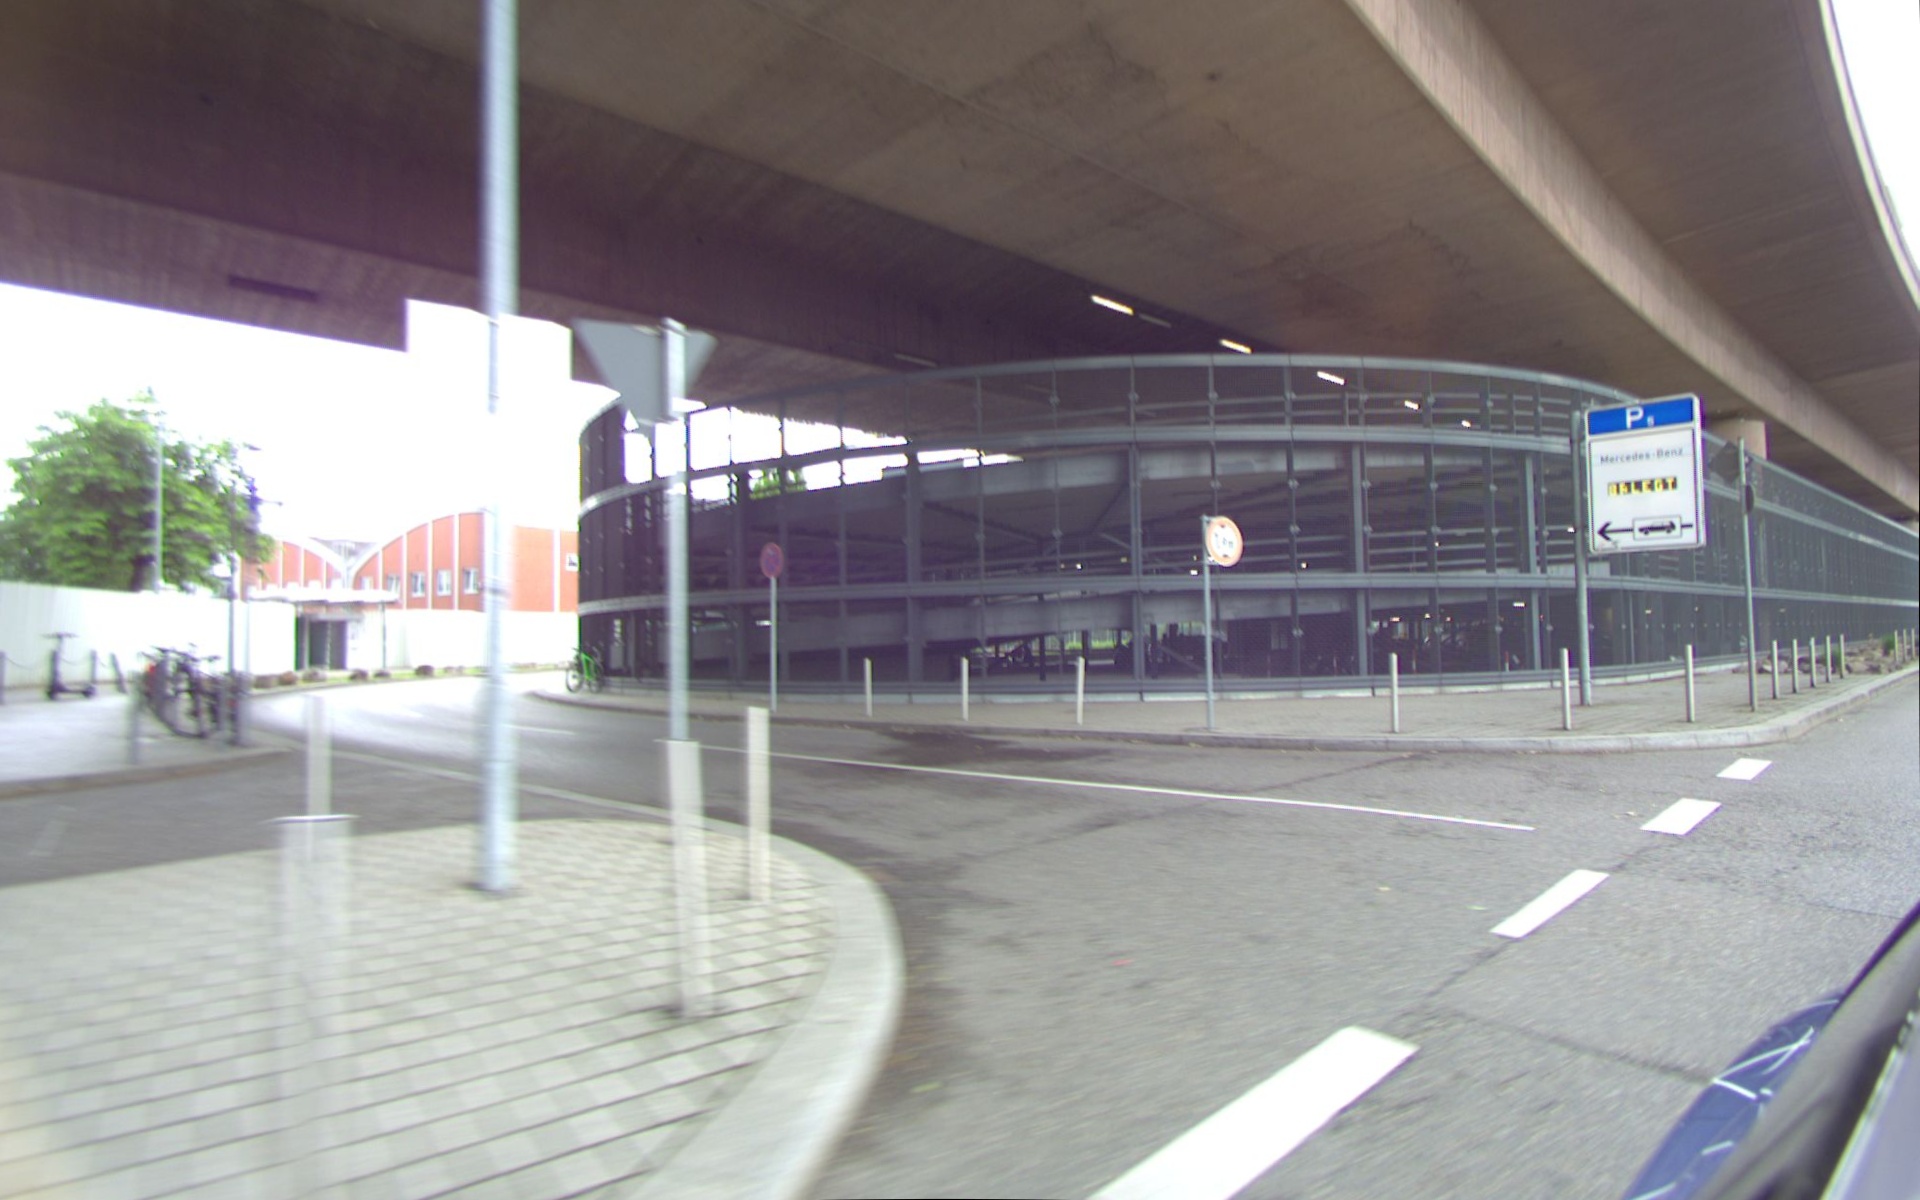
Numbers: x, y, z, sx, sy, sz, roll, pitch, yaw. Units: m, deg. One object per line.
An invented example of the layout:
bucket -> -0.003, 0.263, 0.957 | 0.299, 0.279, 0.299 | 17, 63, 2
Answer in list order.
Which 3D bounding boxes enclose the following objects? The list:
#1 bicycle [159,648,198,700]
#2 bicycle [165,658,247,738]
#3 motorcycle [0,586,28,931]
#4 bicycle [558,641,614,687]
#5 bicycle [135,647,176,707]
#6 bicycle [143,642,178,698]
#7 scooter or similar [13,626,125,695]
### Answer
bicycle -> -16.674, 1.564, 21.618 | 0.428, 1.037, 1.736 | 1, -3, -31
bicycle -> -9.809, 1.241, 13.137 | 2.010, 0.938, 0.413 | -2, -3, 41
motorcycle -> -4.696, 0.624, 3.441 | 0.792, 1.384, 2.105 | 0, -1, 32
bicycle -> -9.150, 1.553, 24.737 | 1.779, 1.093, 0.430 | -2, -3, 39
bicycle -> -14.156, 1.333, 17.785 | 0.429, 0.995, 1.731 | 2, -3, -42
bicycle -> -15.512, 1.332, 19.663 | 0.388, 1.037, 2.062 | 2, -3, -35
scooter or similar -> -16.973, 1.158, 19.334 | 0.534, 1.234, 1.678 | 2, -4, 1
